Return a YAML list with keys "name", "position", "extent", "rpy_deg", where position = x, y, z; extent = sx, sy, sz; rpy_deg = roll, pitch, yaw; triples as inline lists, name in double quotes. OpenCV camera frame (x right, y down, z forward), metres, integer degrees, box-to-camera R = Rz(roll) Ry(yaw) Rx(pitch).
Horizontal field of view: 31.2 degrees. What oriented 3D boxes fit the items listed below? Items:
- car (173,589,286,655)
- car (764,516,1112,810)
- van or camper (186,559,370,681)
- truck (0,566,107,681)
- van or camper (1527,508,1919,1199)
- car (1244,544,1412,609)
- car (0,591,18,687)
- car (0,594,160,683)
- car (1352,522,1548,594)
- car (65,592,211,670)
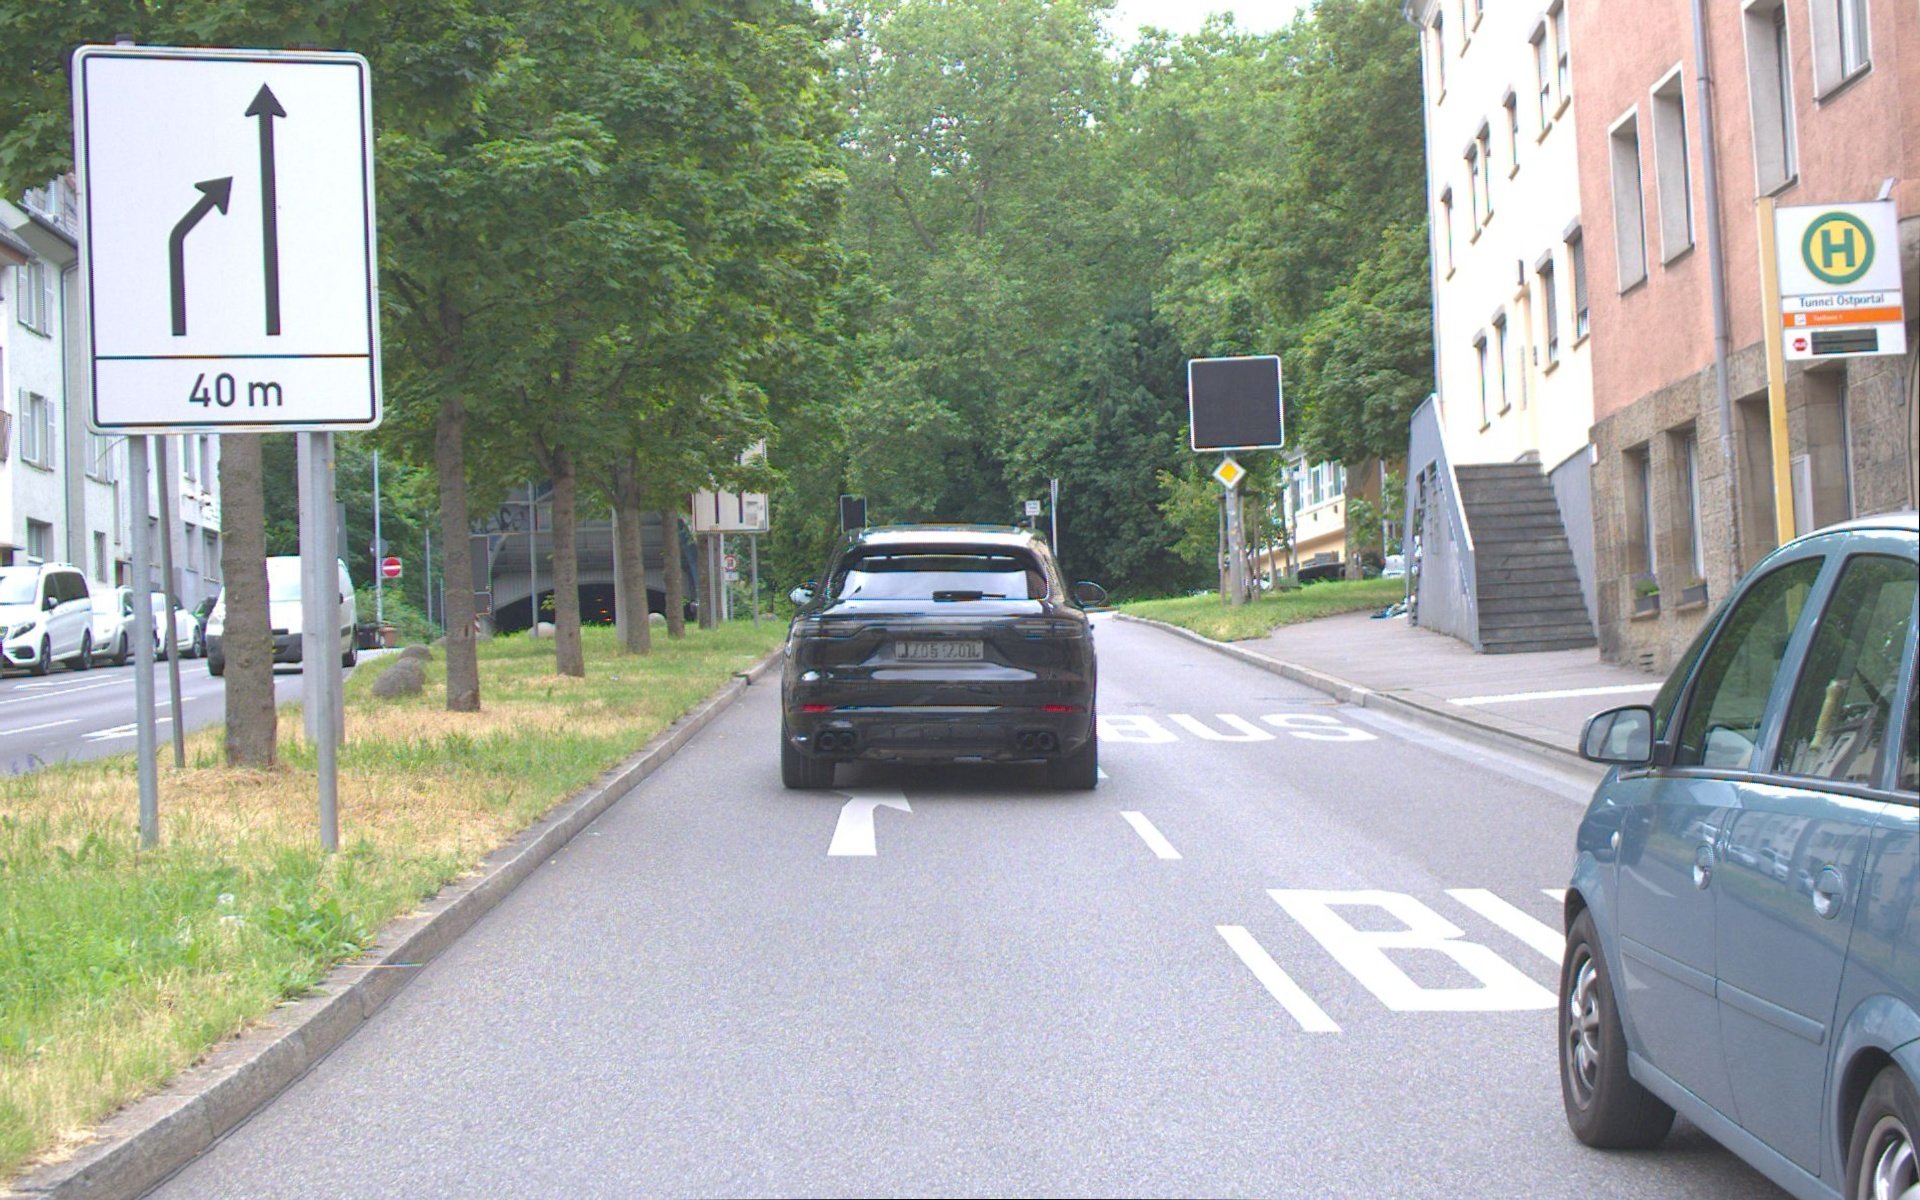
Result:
- name: "car"
  position: [-16.973, 0.500, 80.077]
  extent: [1.993, 1.418, 4.212]
  rpy_deg: [-2, 0, -4]
- name: "car"
  position: [-0.109, 0.387, 22.466]
  extent: [1.993, 1.647, 4.000]
  rpy_deg: [-3, 0, 1]
- name: "van or camper"
  position: [-10.485, 0.282, 53.163]
  extent: [1.908, 1.755, 4.655]
  rpy_deg: [-2, 0, 0]
- name: "truck"
  position: [-16.550, 0.422, 60.184]
  extent: [1.993, 1.913, 5.347]
  rpy_deg: [-2, 0, -2]
- name: "van or camper"
  position: [2.366, 0.623, 7.073]
  extent: [1.735, 1.572, 3.646]
  rpy_deg: [0, 1, -1]
- name: "car"
  position: [9.054, -0.585, 84.384]
  extent: [1.998, 1.413, 3.990]
  rpy_deg: [-3, 0, 44]
- name: "car"
  position: [-16.379, 0.669, 54.170]
  extent: [1.993, 1.547, 4.158]
  rpy_deg: [-2, 0, -2]
- name: "car"
  position: [-16.711, 0.710, 65.506]
  extent: [1.993, 1.547, 4.382]
  rpy_deg: [-2, 0, -2]
- name: "car"
  position: [11.415, -0.968, 80.077]
  extent: [4.116, 1.423, 1.863]
  rpy_deg: [-4, 1, -25]
- name: "car"
  position: [-16.909, 0.622, 70.894]
  extent: [1.993, 1.469, 4.158]
  rpy_deg: [-2, 0, 0]
